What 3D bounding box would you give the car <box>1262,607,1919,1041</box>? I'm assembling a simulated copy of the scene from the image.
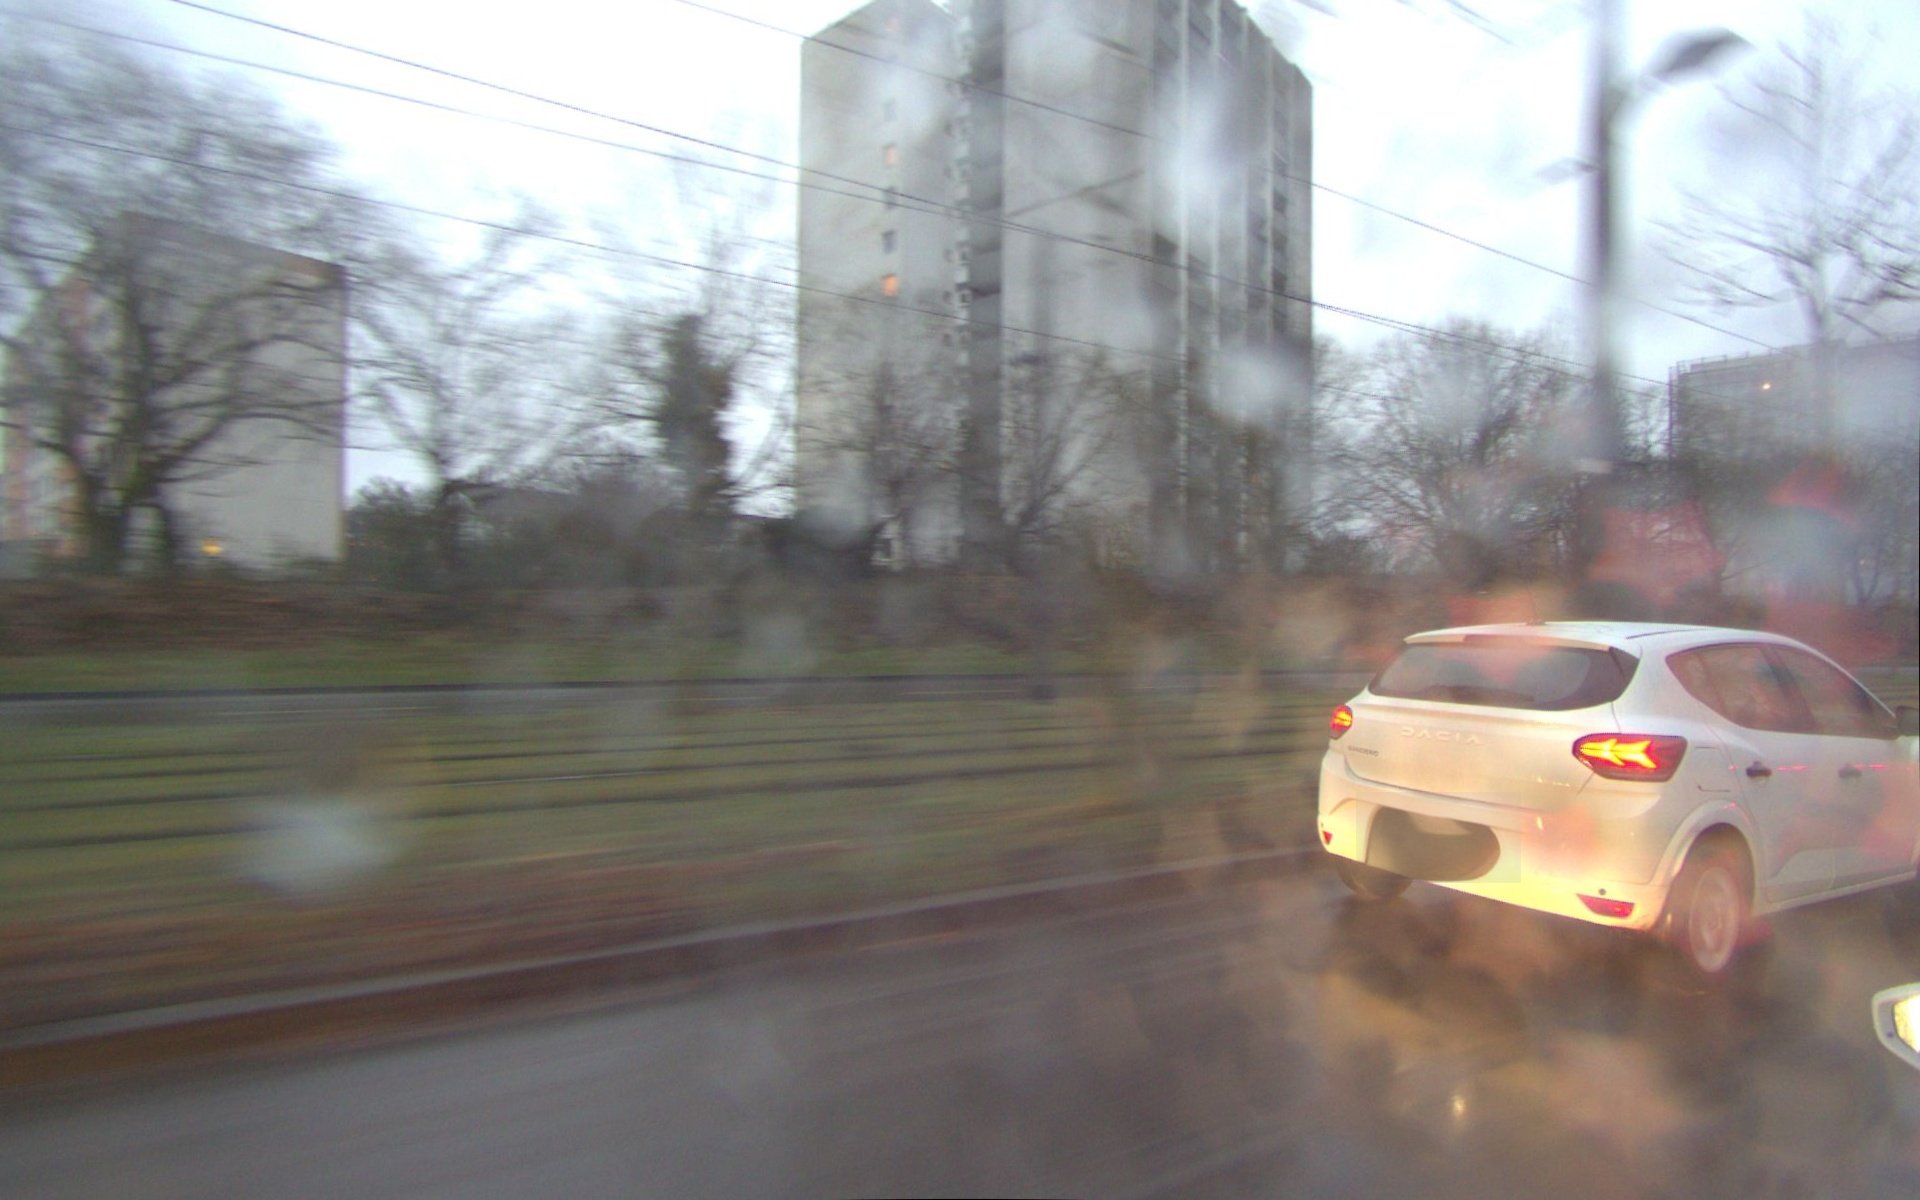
[{"bbox_3d":[3.719,0.859,5.329,4.084,1.545,1.701,1,-2,-29],"label":"car"}]
